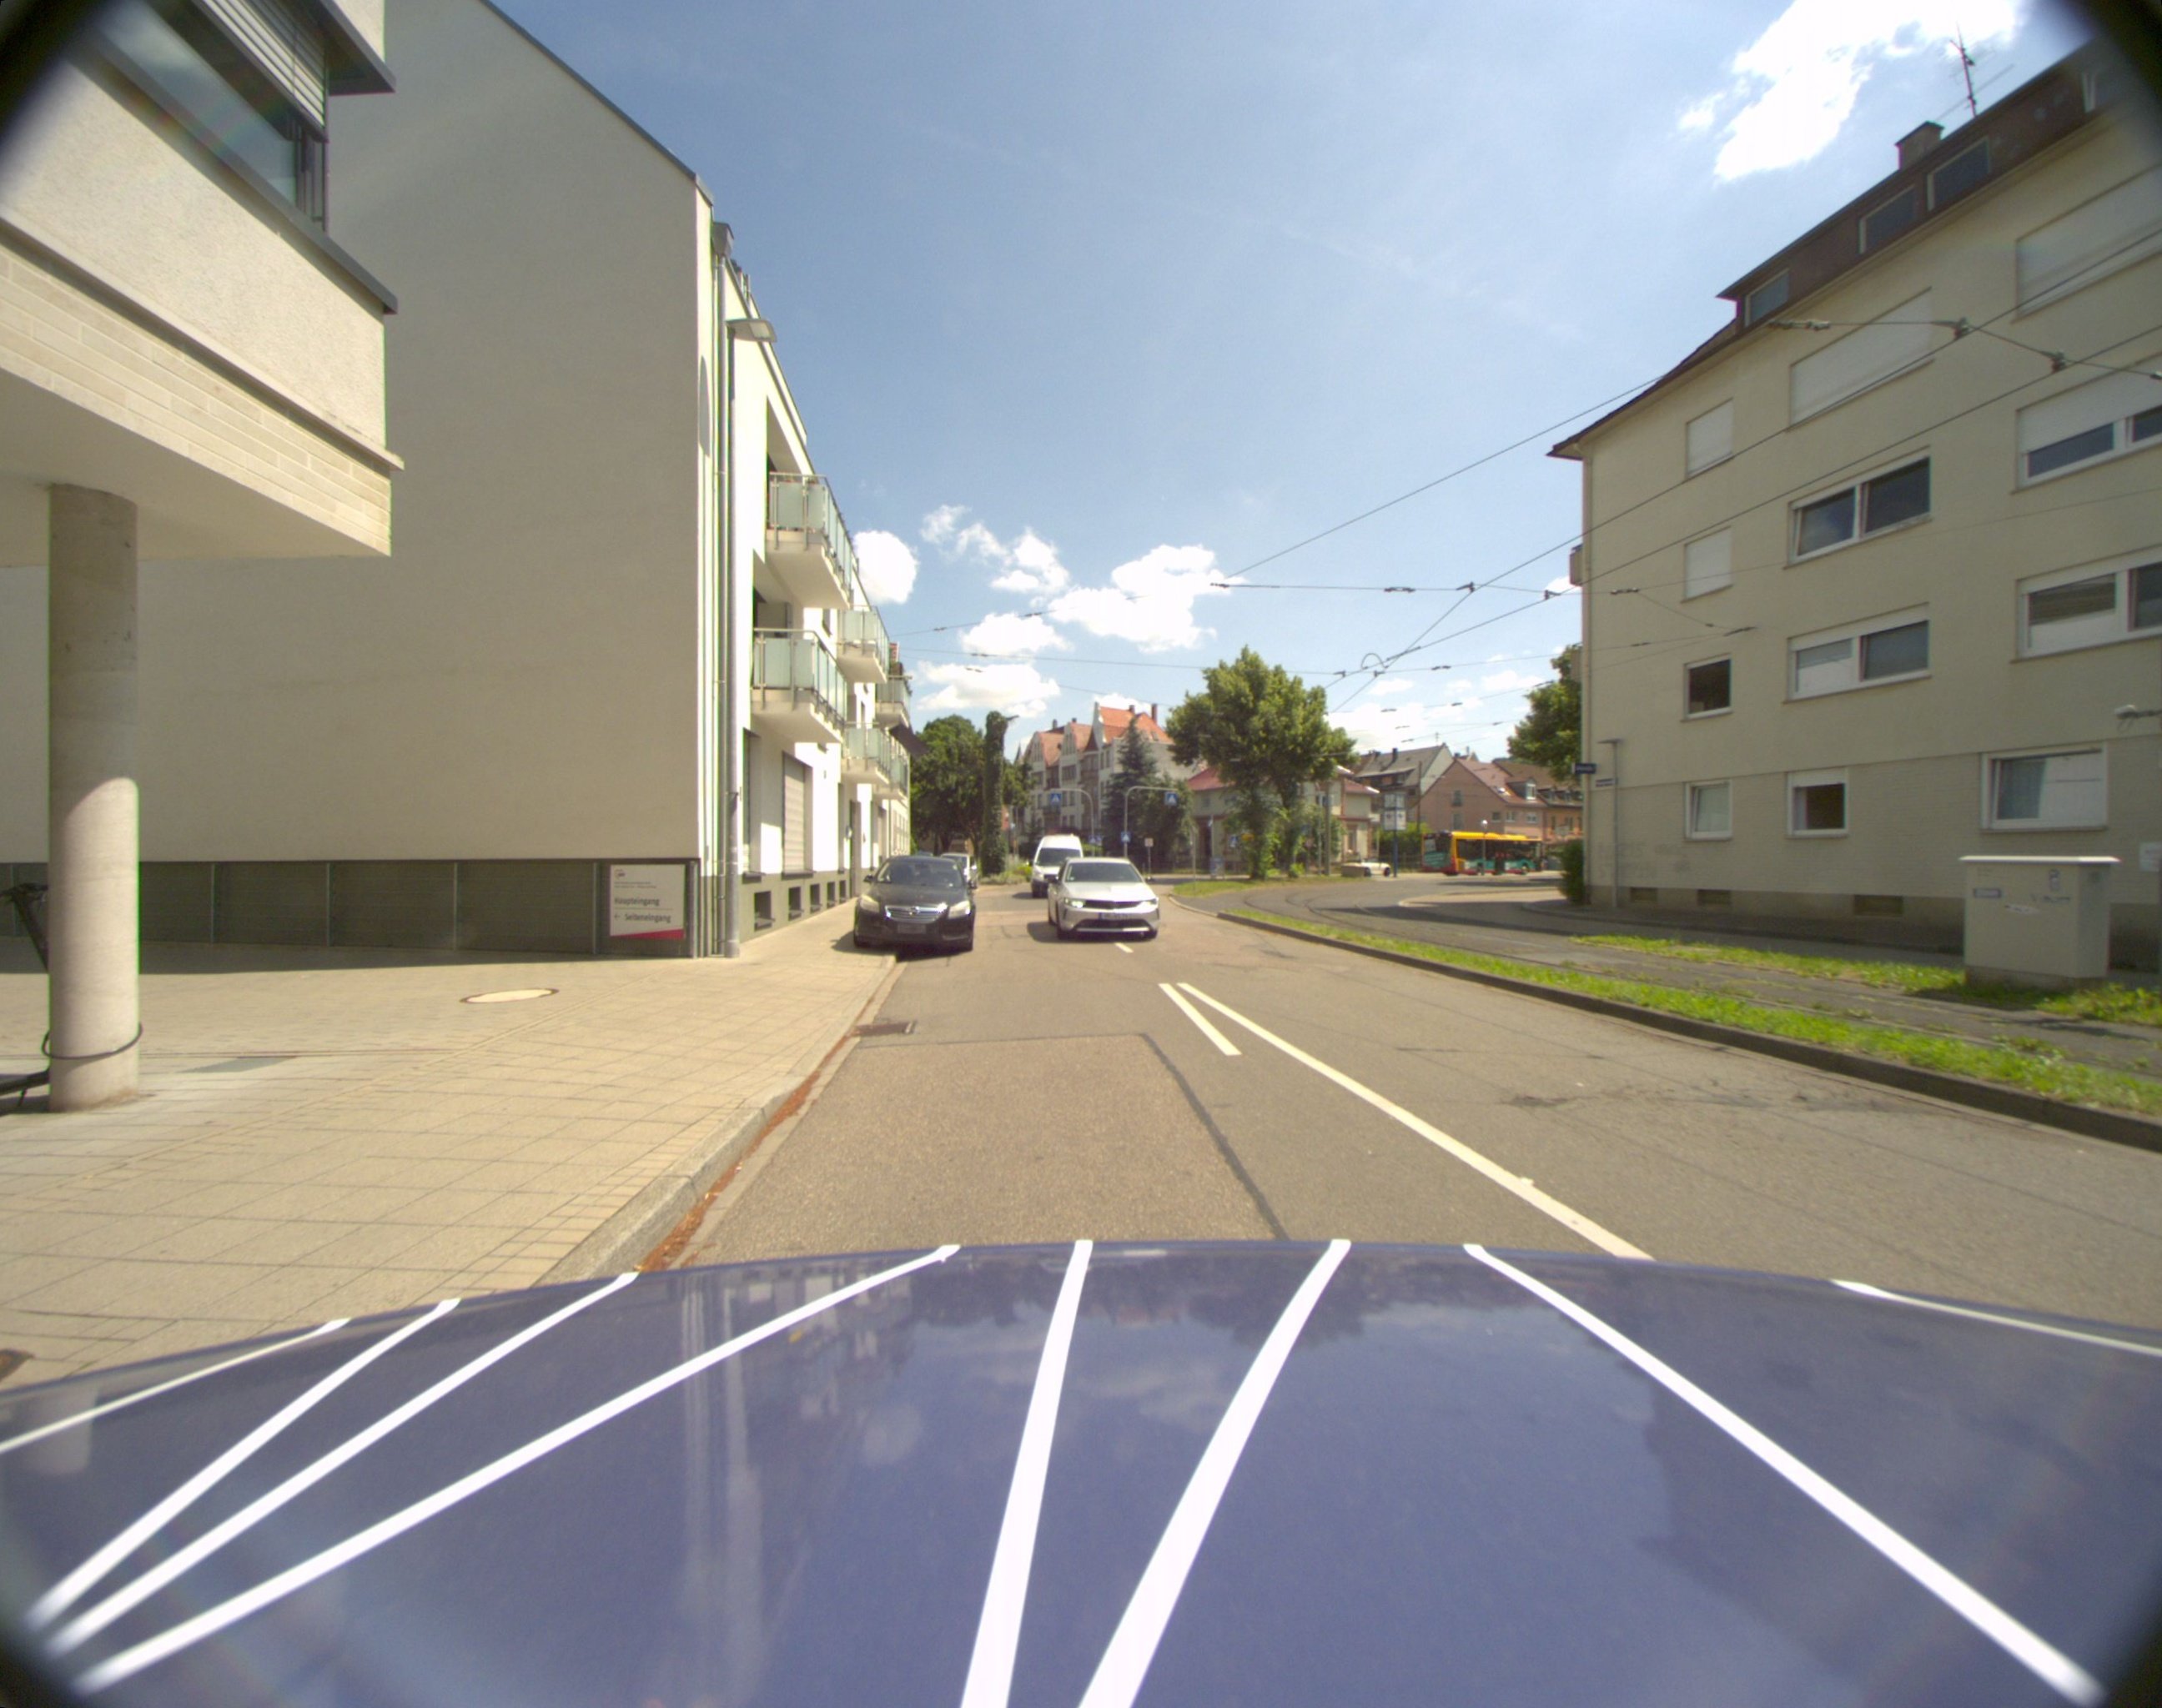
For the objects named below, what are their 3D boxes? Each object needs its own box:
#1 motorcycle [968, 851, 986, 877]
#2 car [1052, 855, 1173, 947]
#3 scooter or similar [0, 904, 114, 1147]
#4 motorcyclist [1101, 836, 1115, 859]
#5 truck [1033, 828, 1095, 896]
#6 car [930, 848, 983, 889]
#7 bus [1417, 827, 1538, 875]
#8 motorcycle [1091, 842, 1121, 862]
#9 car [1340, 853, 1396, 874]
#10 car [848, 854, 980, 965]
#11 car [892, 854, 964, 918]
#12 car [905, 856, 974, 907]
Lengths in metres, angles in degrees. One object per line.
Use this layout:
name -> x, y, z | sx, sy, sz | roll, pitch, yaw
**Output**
motorcycle -> -5.567, 0.505, 40.800 | 0.802, 1.344, 2.337 | -1, 0, -4
car -> 0.451, 0.783, 14.733 | 1.802, 1.458, 4.168 | 0, 1, -5
scooter or similar -> -5.679, 0.888, 3.691 | 0.423, 1.204, 1.313 | -1, 0, -10
motorcyclist -> 1.433, -0.342, 40.442 | 0.556, 1.236, 0.540 | -1, 1, -22
truck -> -0.594, 0.254, 28.231 | 2.020, 2.236, 5.406 | -2, 1, -1
car -> -5.292, 0.589, 32.741 | 1.731, 1.601, 3.799 | 1, 1, -1
bus -> 29.556, -0.194, 56.363 | 10.877, 3.277, 2.702 | 0, -1, -31
motorcycle -> 1.332, -0.115, 40.416 | 1.438, 1.051, 0.668 | -1, 1, -23
car -> 20.650, 0.698, 54.636 | 3.753, 1.455, 1.775 | 0, -1, -29
car -> -2.782, 0.809, 13.180 | 1.806, 1.500, 4.543 | 3, 0, -10
car -> -3.956, 0.778, 20.103 | 1.598, 1.425, 3.703 | 3, 0, -8
car -> -4.565, 0.844, 25.070 | 1.732, 1.425, 4.040 | 3, 0, -4
